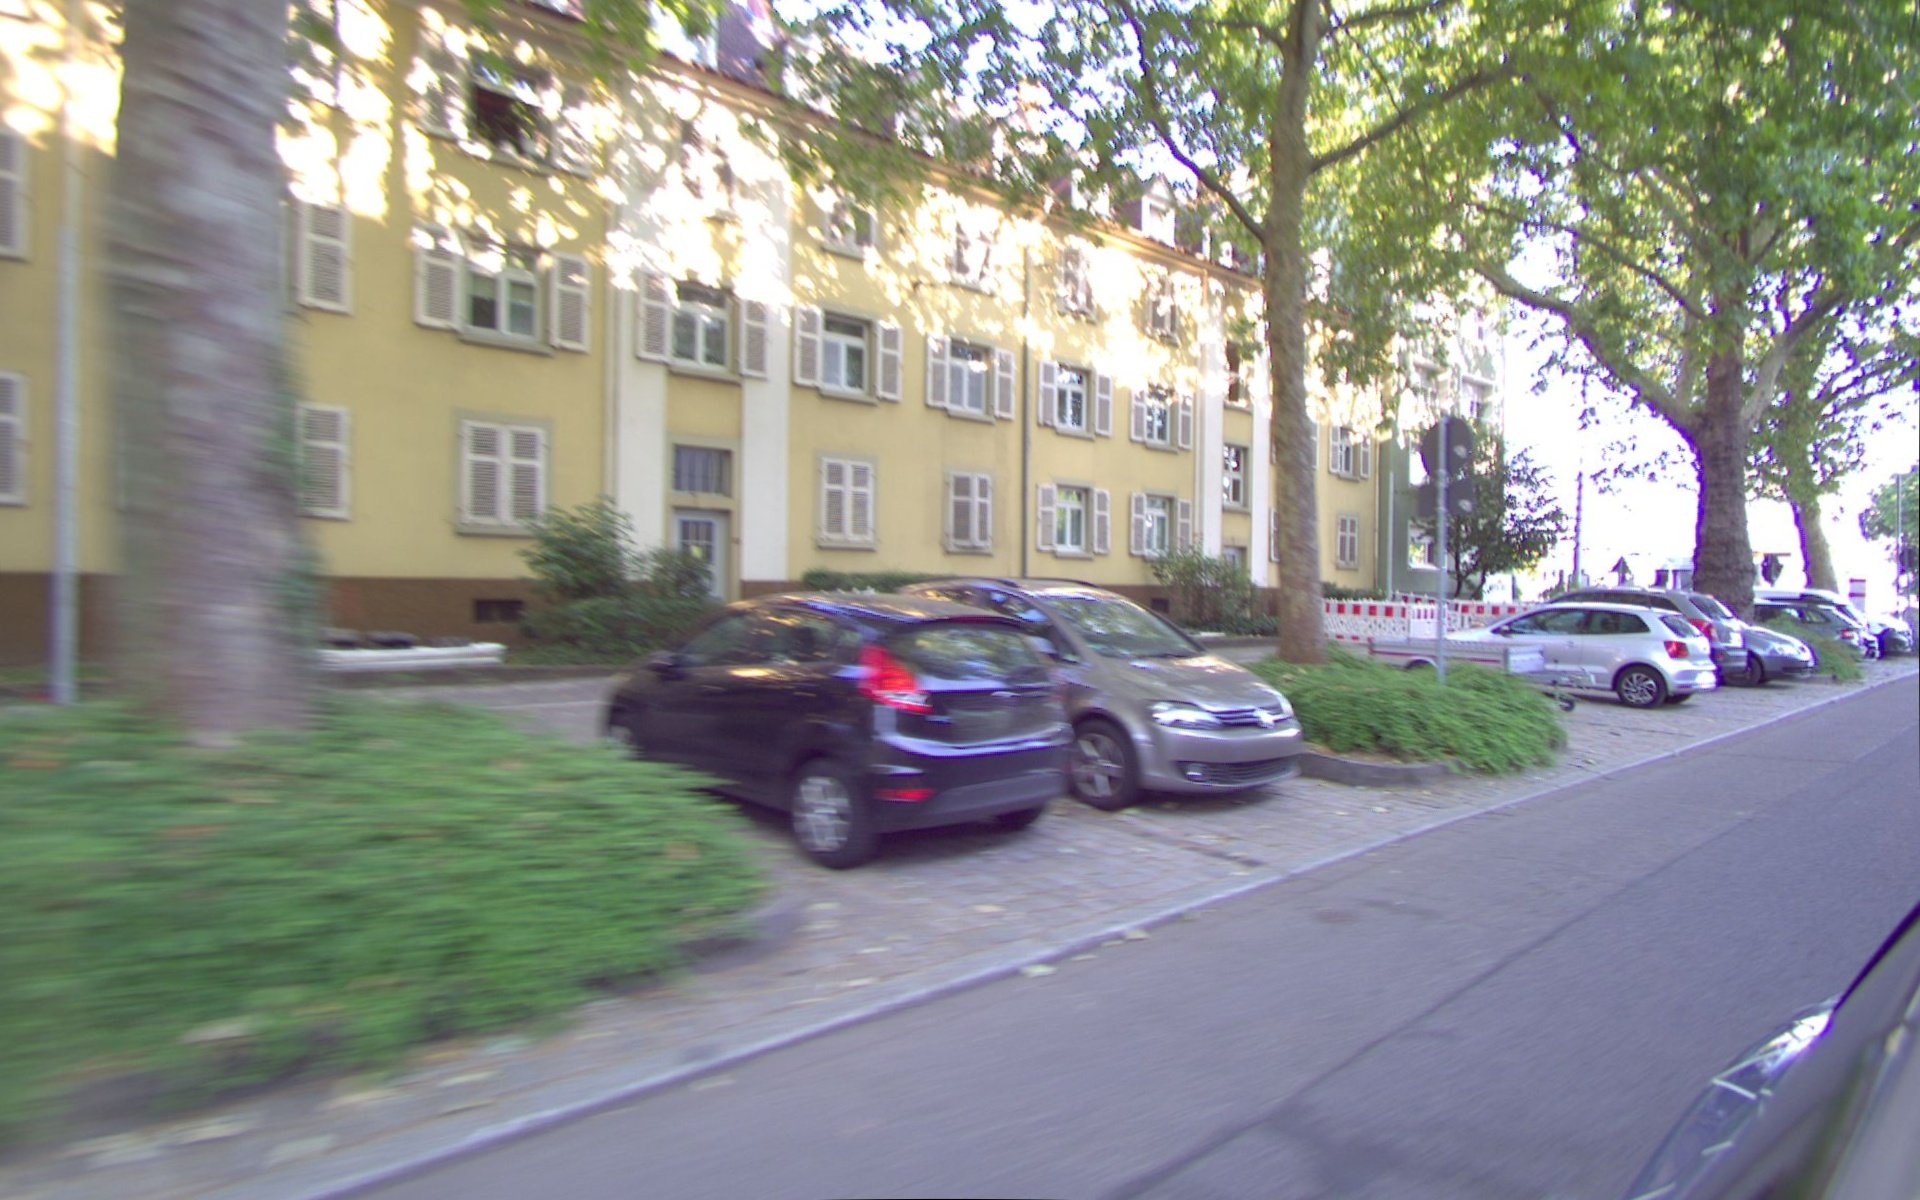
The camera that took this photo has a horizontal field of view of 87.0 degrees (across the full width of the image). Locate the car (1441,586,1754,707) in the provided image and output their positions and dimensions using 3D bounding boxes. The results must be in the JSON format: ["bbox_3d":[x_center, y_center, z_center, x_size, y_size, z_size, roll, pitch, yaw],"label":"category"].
[{"bbox_3d":[9.728,0.612,15.659,1.832,1.441,3.661,0,3,-39],"label":"car"}]

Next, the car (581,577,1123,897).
[{"bbox_3d":[-0.914,0.614,6.706,1.708,1.444,3.657,0,2,-43],"label":"car"}]

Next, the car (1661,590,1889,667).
[{"bbox_3d":[18.735,0.577,23.385,1.712,1.516,3.886,0,2,-43],"label":"car"}]

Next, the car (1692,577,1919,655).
[{"bbox_3d":[24.232,0.359,28.857,1.881,1.878,5.124,-1,3,-40],"label":"car"}]

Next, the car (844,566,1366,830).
[{"bbox_3d":[0.942,0.541,8.335,1.798,1.569,4.085,-1,2,-40],"label":"car"}]

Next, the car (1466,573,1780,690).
[{"bbox_3d":[11.718,0.453,18.173,1.806,1.753,4.323,1,2,-36],"label":"car"}]

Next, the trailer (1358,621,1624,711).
[{"bbox_3d":[7.454,0.873,14.428,1.409,0.914,3.052,0,3,-34],"label":"trailer"}]

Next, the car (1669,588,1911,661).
[{"bbox_3d":[20.656,0.551,25.338,1.785,1.542,4.410,1,2,-39],"label":"car"}]

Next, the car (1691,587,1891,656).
[{"bbox_3d":[22.283,0.518,27.246,1.764,1.625,3.882,0,2,-41],"label":"car"}]

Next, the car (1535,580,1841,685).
[{"bbox_3d":[13.737,0.504,19.318,1.875,1.678,4.433,-1,2,-41],"label":"car"}]

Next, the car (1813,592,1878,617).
[{"bbox_3d":[55.191,0.293,63.153,1.619,1.455,3.551,-1,-2,17],"label":"car"}]
